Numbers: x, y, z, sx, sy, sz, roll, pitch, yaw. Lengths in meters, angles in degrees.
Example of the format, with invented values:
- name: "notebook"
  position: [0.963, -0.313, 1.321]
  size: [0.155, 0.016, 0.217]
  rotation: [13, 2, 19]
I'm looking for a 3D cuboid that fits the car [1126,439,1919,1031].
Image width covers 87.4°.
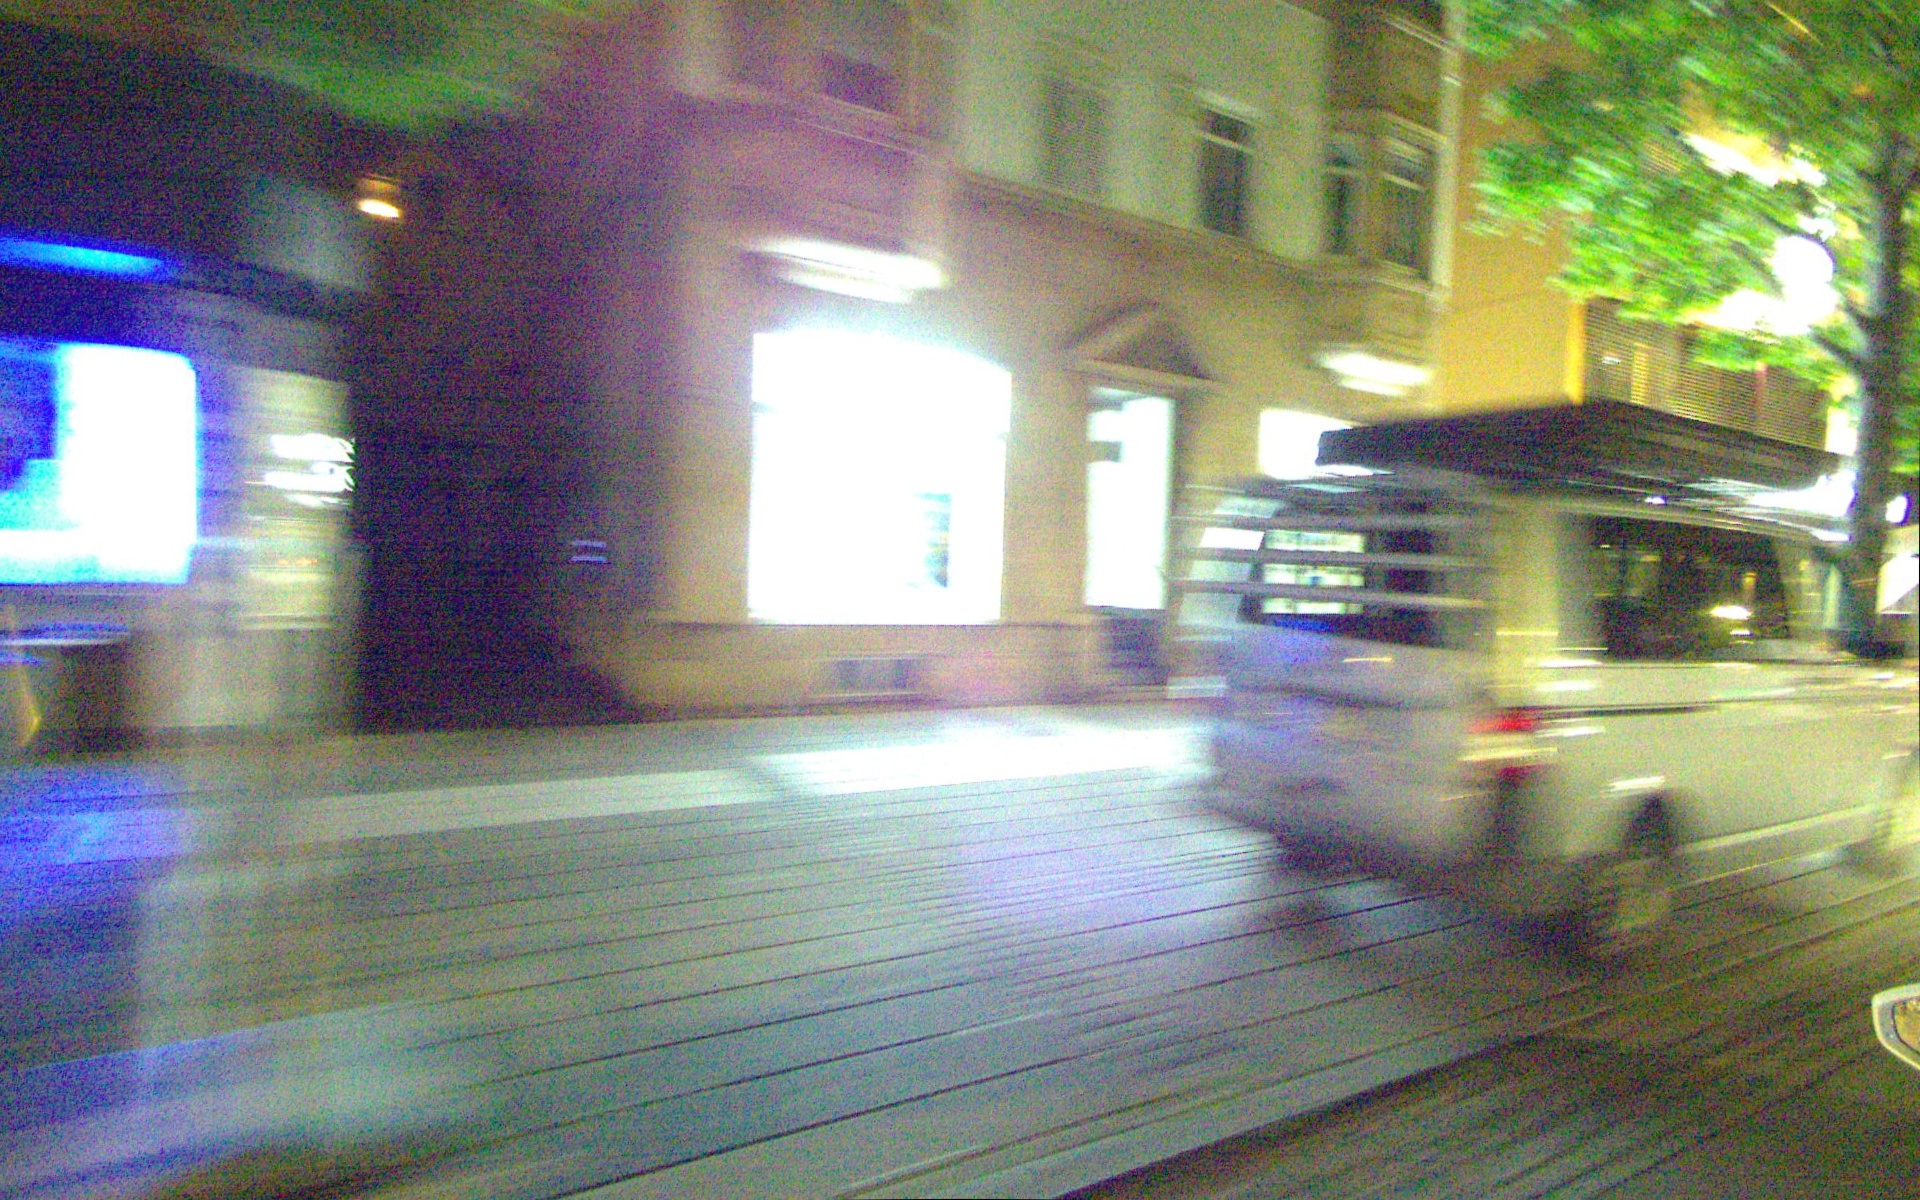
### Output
- name: "car"
  position: [3.498, 0.447, 5.487]
  size: [5.019, 1.992, 1.914]
  rotation: [1, 3, -32]
